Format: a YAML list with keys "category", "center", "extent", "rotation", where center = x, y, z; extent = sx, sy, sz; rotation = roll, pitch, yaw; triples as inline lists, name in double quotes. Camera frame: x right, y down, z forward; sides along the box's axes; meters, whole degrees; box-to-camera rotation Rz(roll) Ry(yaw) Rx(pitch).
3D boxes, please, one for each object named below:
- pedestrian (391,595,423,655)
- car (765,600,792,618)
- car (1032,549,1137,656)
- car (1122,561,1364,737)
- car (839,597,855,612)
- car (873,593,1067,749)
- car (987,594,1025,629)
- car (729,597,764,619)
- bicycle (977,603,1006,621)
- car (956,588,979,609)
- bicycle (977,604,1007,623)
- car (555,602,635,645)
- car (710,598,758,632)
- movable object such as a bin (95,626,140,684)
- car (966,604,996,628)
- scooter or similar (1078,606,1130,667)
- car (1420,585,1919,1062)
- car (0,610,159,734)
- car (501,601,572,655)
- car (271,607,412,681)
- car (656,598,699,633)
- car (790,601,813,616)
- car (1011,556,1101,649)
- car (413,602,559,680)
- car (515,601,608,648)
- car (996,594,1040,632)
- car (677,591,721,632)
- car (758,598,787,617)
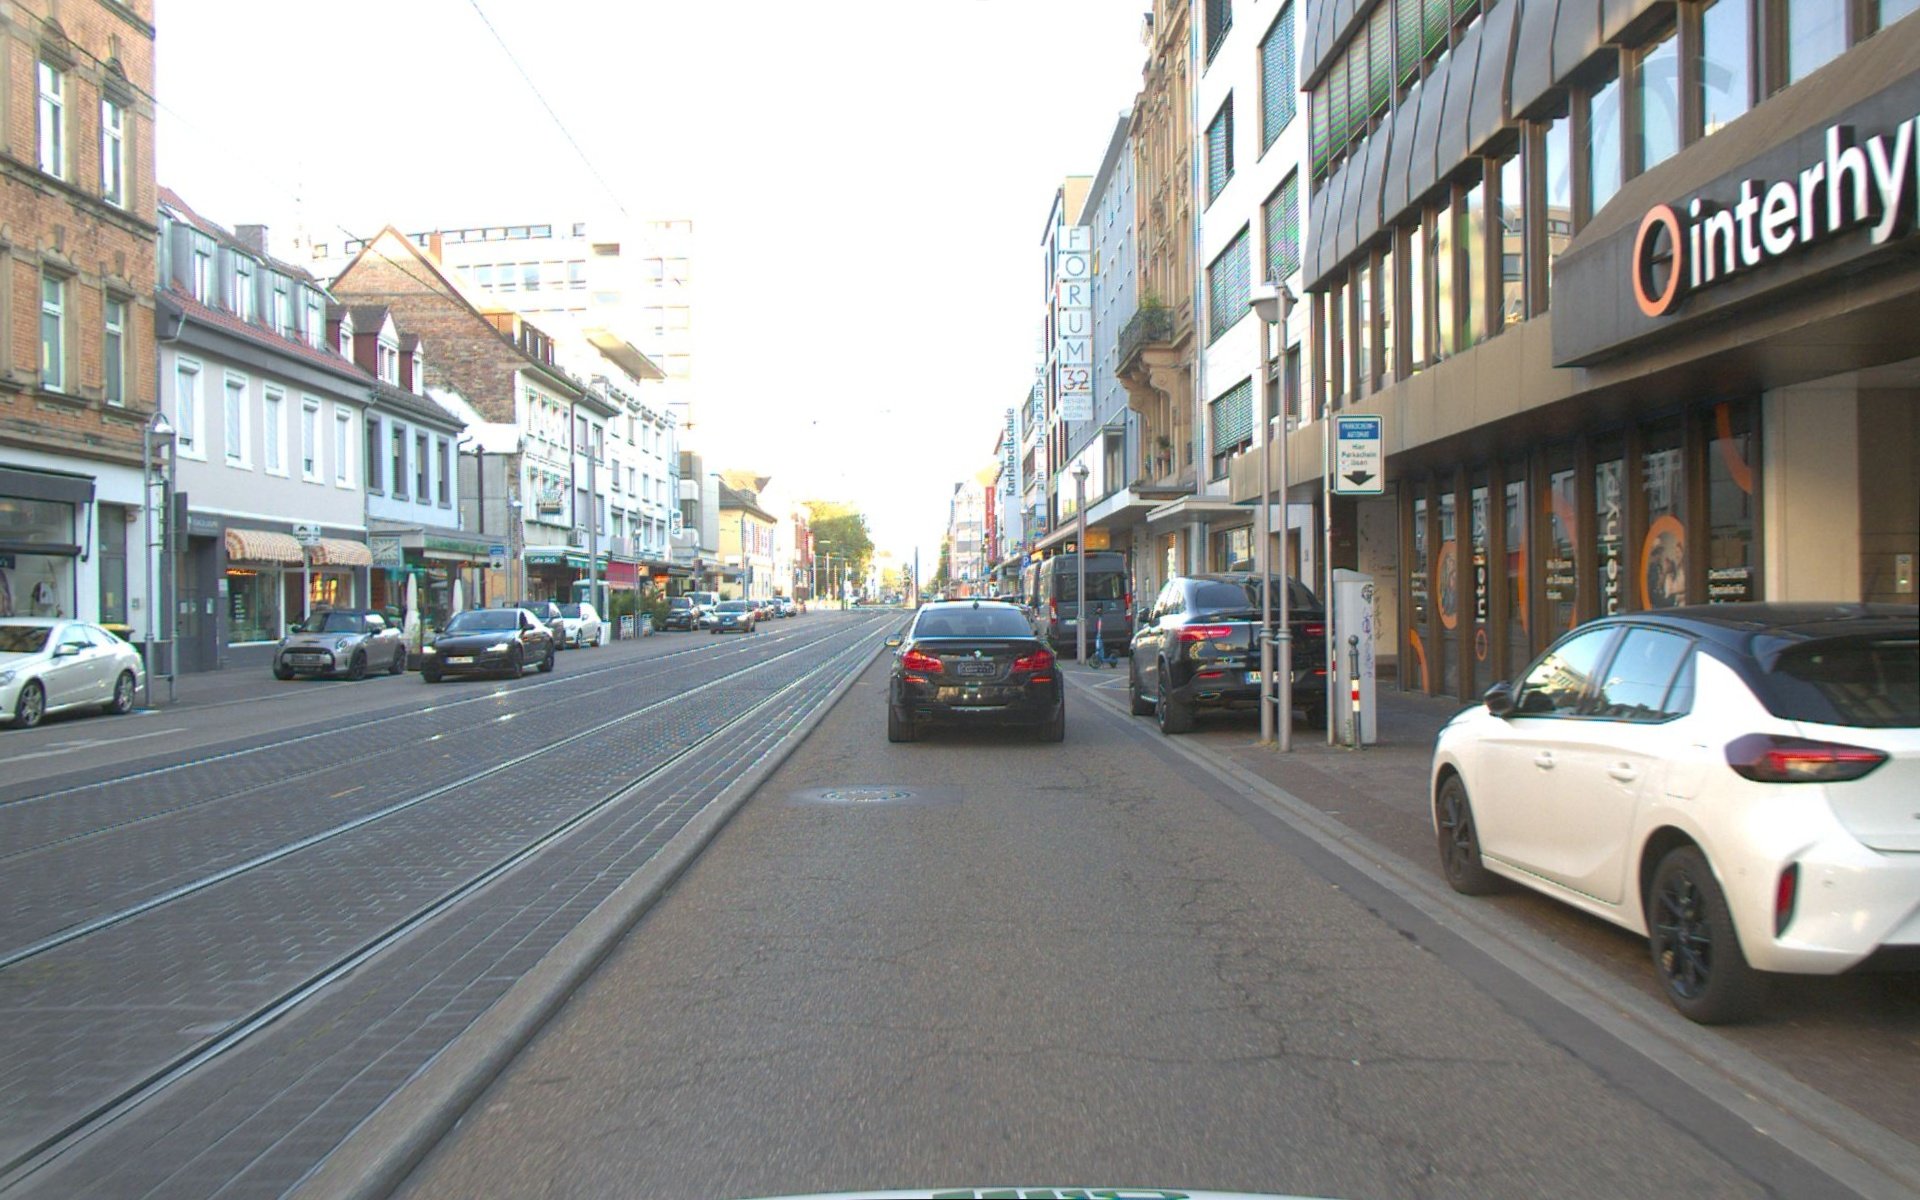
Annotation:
- category: "pedestrian"
  center: [-15.742, 0.702, 47.090]
  extent: [0.649, 1.673, 0.694]
  rotation: [0, 0, -1]
- category: "car"
  center: [-15.274, 0.770, 139.463]
  extent: [1.889, 1.460, 4.245]
  rotation: [0, 0, -1]
- category: "car"
  center: [3.104, 0.052, 42.562]
  extent: [2.050, 2.498, 6.030]
  rotation: [-2, 0, -1]
- category: "car"
  center: [3.151, 0.505, 19.385]
  extent: [1.953, 1.757, 4.564]
  rotation: [-1, 0, -1]
- category: "car"
  center: [-15.818, 0.599, 231.915]
  extent: [1.953, 1.870, 3.998]
  rotation: [0, -3, -1]
- category: "car"
  center: [0.114, 0.695, 18.553]
  extent: [1.913, 1.524, 4.465]
  rotation: [0, 0, 0]
- category: "car"
  center: [2.101, 0.523, 76.223]
  extent: [1.528, 1.467, 3.708]
  rotation: [-3, 0, -1]
- category: "car"
  center: [-14.796, 0.549, 114.884]
  extent: [1.889, 1.460, 4.245]
  rotation: [0, 0, -1]
- category: "bicycle"
  center: [2.037, 0.765, 106.170]
  extent: [1.823, 1.139, 0.468]
  rotation: [0, -1, 0]
- category: "car"
  center: [0.565, -0.103, 131.020]
  extent: [1.738, 1.576, 3.502]
  rotation: [0, -1, -1]
- category: "bicycle"
  center: [1.954, 0.832, 100.329]
  extent: [1.823, 1.099, 0.468]
  rotation: [0, -1, 0]
- category: "car"
  center: [-13.342, 0.831, 60.759]
  extent: [1.953, 1.478, 4.329]
  rotation: [-1, 0, 0]
- category: "car"
  center: [-10.403, 0.663, 76.410]
  extent: [1.657, 1.478, 4.464]
  rotation: [-1, 0, -1]
- category: "movable object such as a bin"
  center: [-15.898, 1.032, 31.227]
  extent: [0.507, 1.061, 0.659]
  rotation: [1, 0, -2]
- category: "car"
  center: [1.395, 1.058, 109.608]
  extent: [1.864, 1.576, 3.999]
  rotation: [0, -1, -1]
- category: "scooter or similar"
  center: [3.033, 0.760, 34.805]
  extent: [0.490, 1.241, 1.260]
  rotation: [-1, 0, 36]
- category: "car"
  center: [3.445, 0.684, 7.149]
  extent: [1.759, 1.458, 3.886]
  rotation: [-1, 0, -1]
- category: "car"
  center: [-13.087, 0.918, 23.022]
  extent: [1.832, 1.478, 4.607]
  rotation: [2, 0, -4]
- category: "car"
  center: [-13.061, 0.840, 51.158]
  extent: [1.446, 1.605, 2.794]
  rotation: [-1, 0, 0]
- category: "car"
  center: [-13.138, 0.896, 35.337]
  extent: [1.566, 1.465, 3.812]
  rotation: [1, 0, 0]
- category: "car"
  center: [-14.046, 0.755, 82.350]
  extent: [1.830, 1.714, 3.995]
  rotation: [0, 0, -5]
- category: "car"
  center: [-15.553, 0.826, 162.579]
  extent: [1.889, 1.460, 4.245]
  rotation: [0, 0, -1]
- category: "car"
  center: [2.765, 0.060, 48.857]
  extent: [1.993, 2.498, 5.406]
  rotation: [-3, 0, -3]
- category: "car"
  center: [-9.782, 0.806, 34.503]
  extent: [1.954, 1.478, 4.645]
  rotation: [-1, 0, -4]
- category: "car"
  center: [-13.399, 0.808, 55.882]
  extent: [1.953, 1.478, 4.821]
  rotation: [-1, 0, 0]
- category: "car"
  center: [2.456, 0.536, 71.171]
  extent: [1.621, 1.564, 3.884]
  rotation: [-2, 0, -1]
- category: "car"
  center: [-14.239, 0.613, 90.359]
  extent: [1.954, 2.194, 4.906]
  rotation: [-1, 0, -4]
- category: "car"
  center: [-15.106, 0.593, 133.405]
  extent: [1.889, 1.460, 4.245]
  rotation: [-1, 0, -1]
